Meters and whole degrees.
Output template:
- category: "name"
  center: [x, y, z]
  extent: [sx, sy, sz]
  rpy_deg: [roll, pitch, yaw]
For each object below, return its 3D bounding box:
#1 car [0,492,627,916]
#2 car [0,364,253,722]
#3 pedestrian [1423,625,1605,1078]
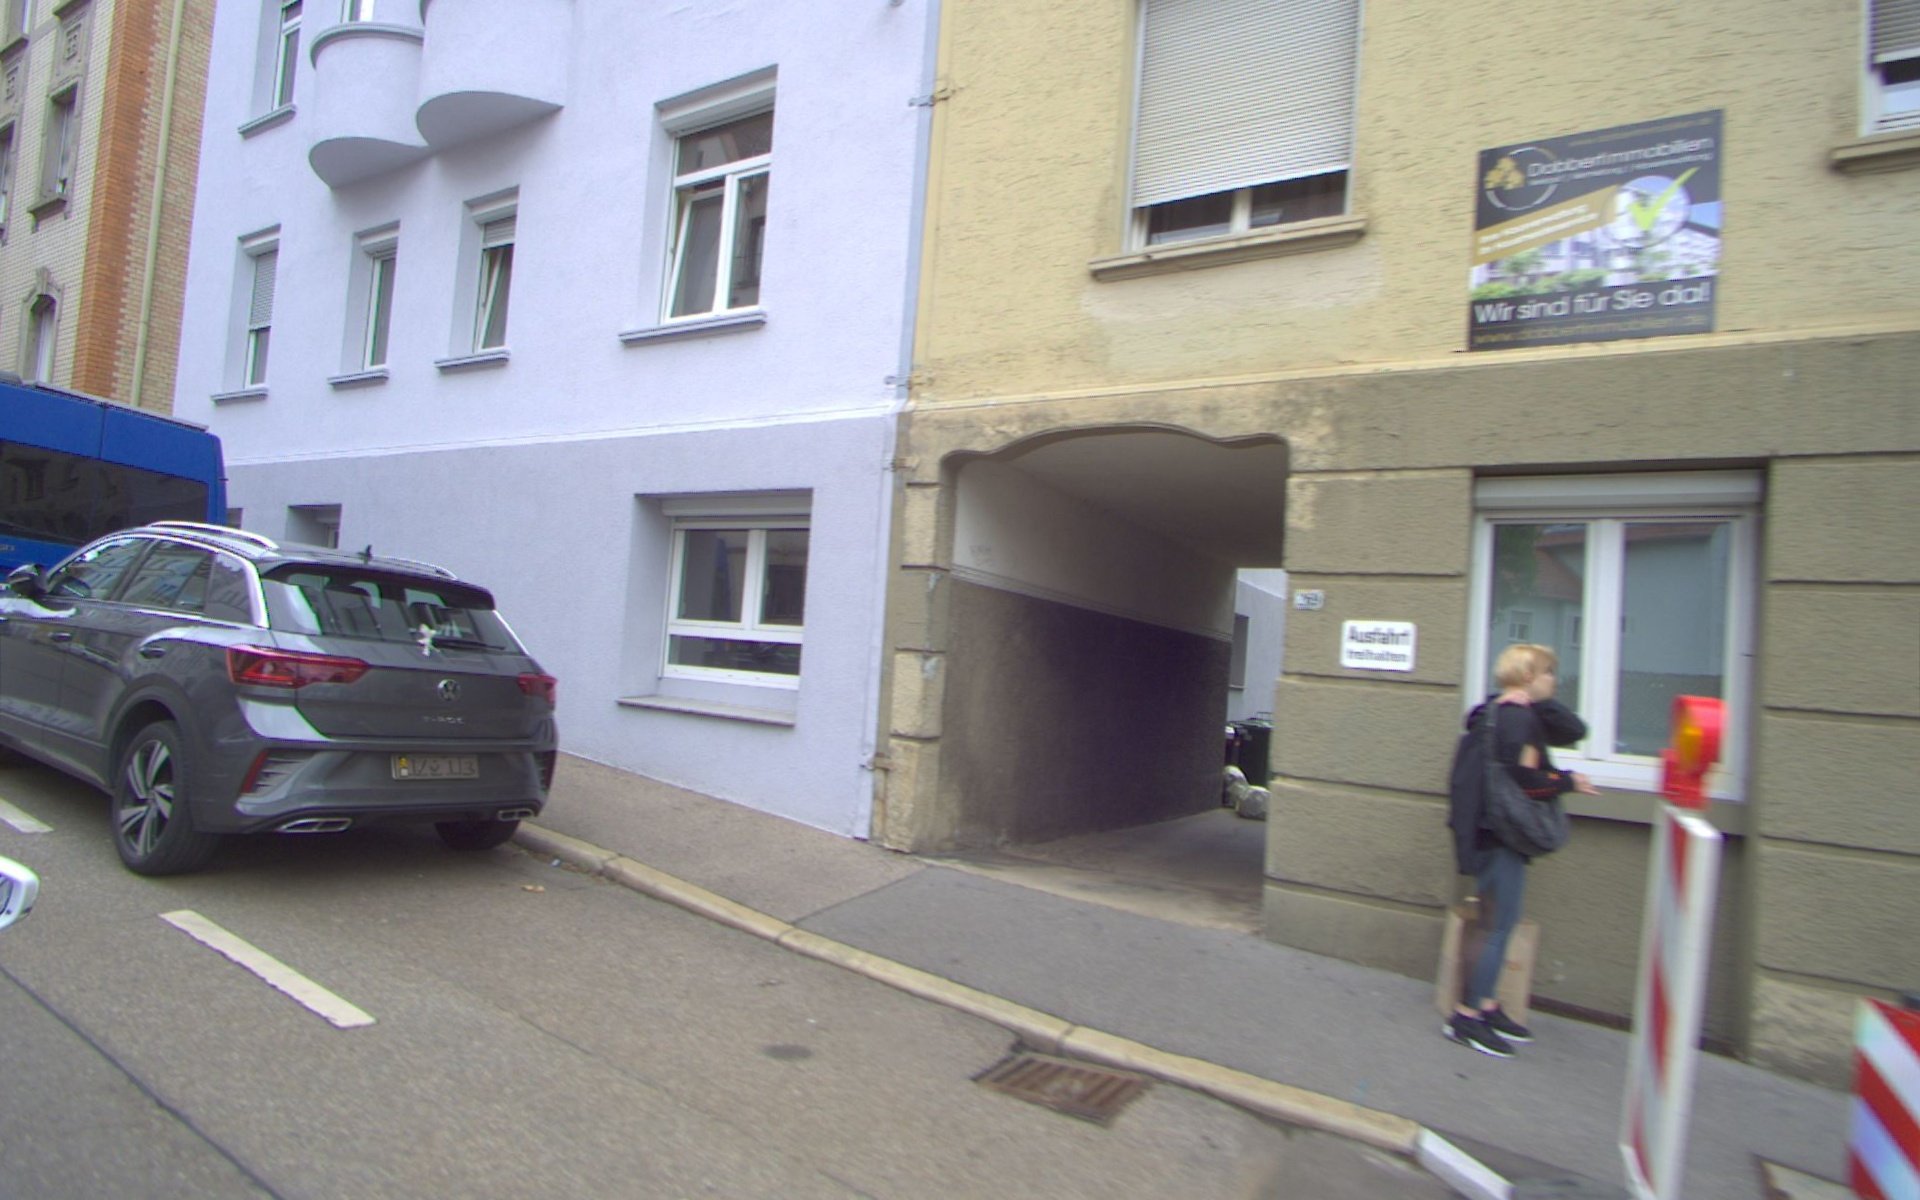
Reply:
- category: "car"
  center: [-4.127, 0.401, 5.747]
  extent: [4.122, 1.546, 1.786]
  rpy_deg: [6, -5, 31]
- category: "car"
  center: [-8.393, -0.541, 8.456]
  extent: [4.972, 2.403, 1.998]
  rpy_deg: [6, -2, 32]
- category: "pedestrian"
  center: [2.271, 0.974, 4.187]
  extent: [0.507, 1.704, 0.541]
  rpy_deg: [4, 2, 23]
